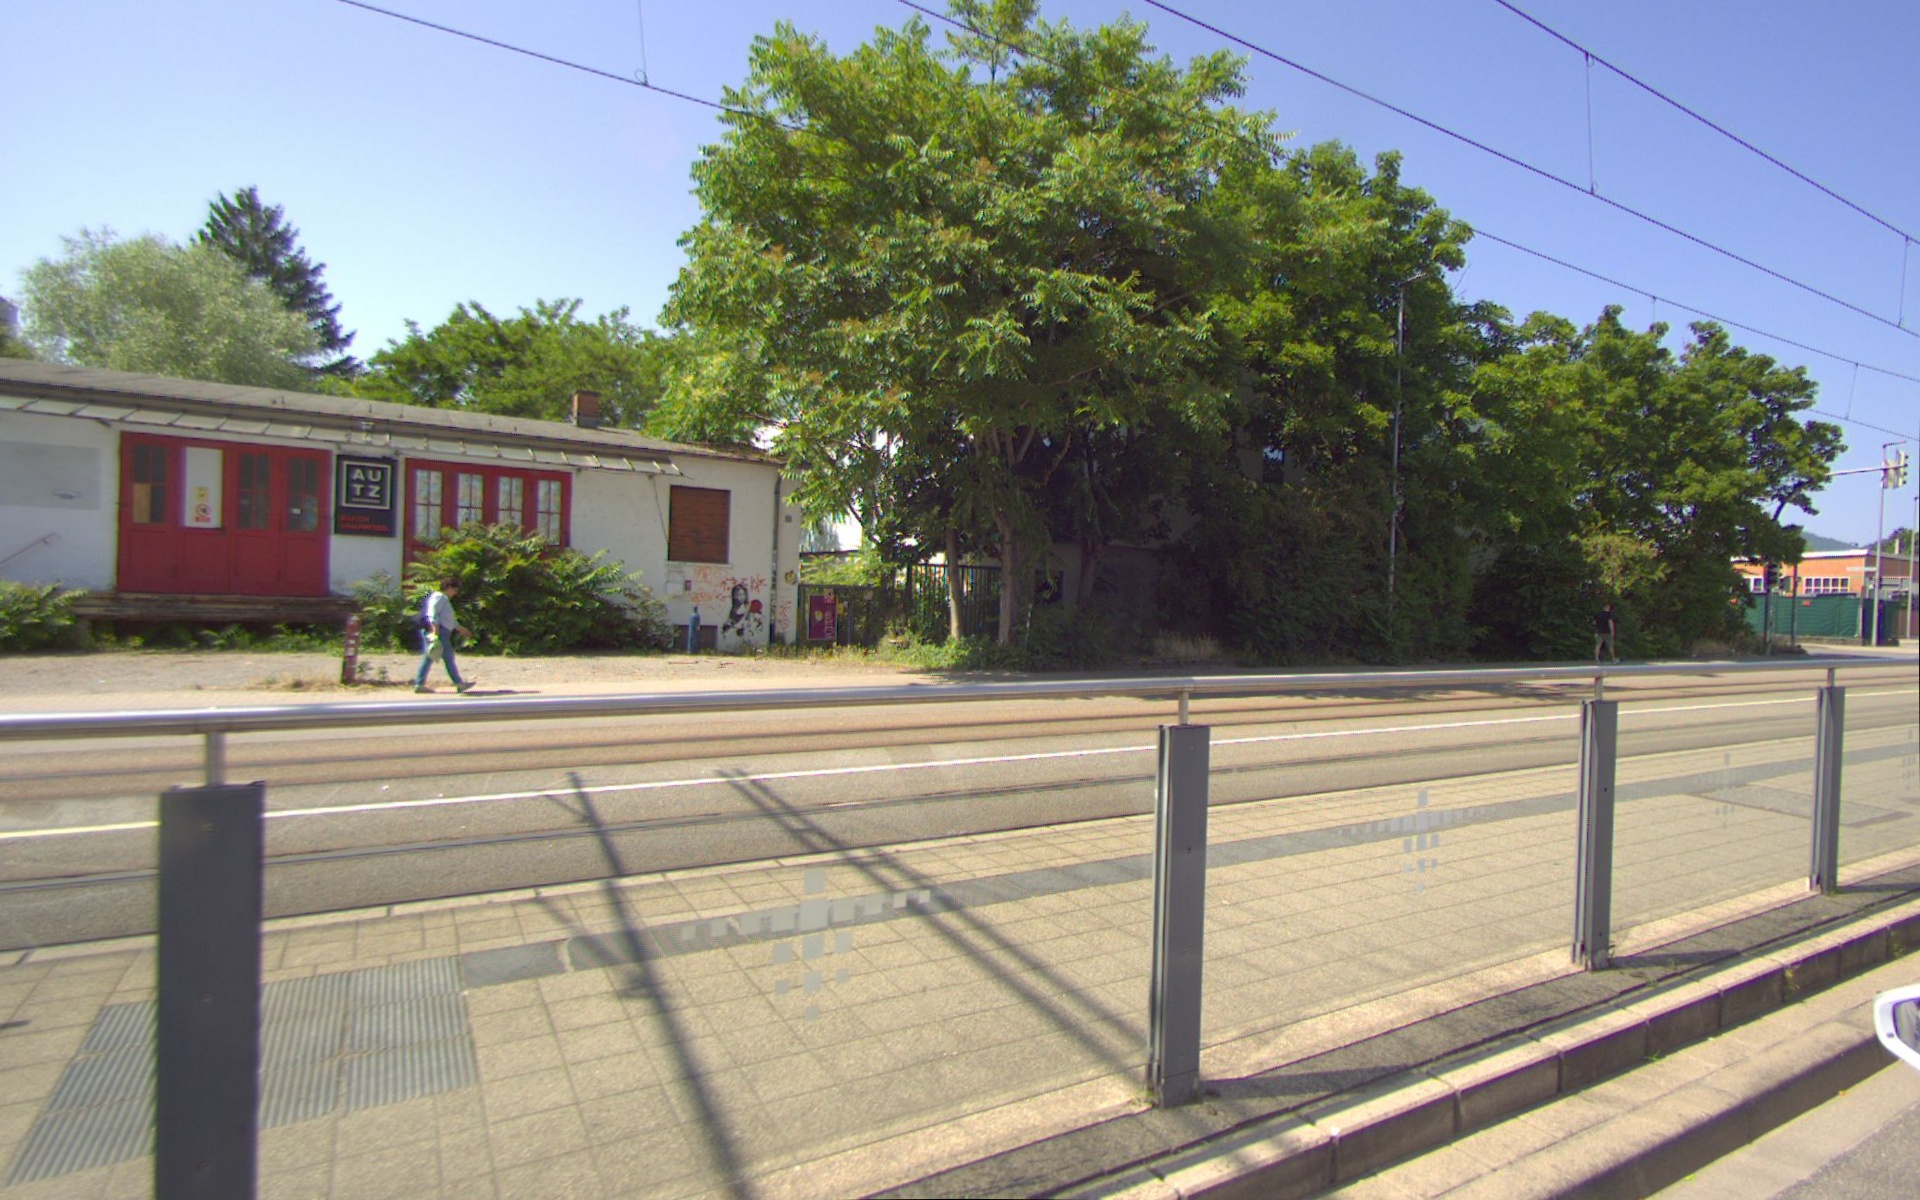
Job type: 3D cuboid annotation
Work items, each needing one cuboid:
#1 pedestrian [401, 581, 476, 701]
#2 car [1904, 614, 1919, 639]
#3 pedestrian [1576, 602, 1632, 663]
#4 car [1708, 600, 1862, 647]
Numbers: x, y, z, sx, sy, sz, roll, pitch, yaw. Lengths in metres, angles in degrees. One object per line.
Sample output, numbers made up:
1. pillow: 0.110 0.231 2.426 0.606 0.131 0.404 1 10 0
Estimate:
1. pedestrian: -7.005 0.526 13.477 0.836 1.547 0.866 1 1 -31
2. car: 57.915 1.579 59.582 1.880 1.461 4.584 1 0 32
3. pedestrian: 18.272 0.912 28.503 1.147 1.692 0.881 1 0 -31
4. car: 36.398 1.009 44.464 4.812 1.862 2.102 1 0 15
